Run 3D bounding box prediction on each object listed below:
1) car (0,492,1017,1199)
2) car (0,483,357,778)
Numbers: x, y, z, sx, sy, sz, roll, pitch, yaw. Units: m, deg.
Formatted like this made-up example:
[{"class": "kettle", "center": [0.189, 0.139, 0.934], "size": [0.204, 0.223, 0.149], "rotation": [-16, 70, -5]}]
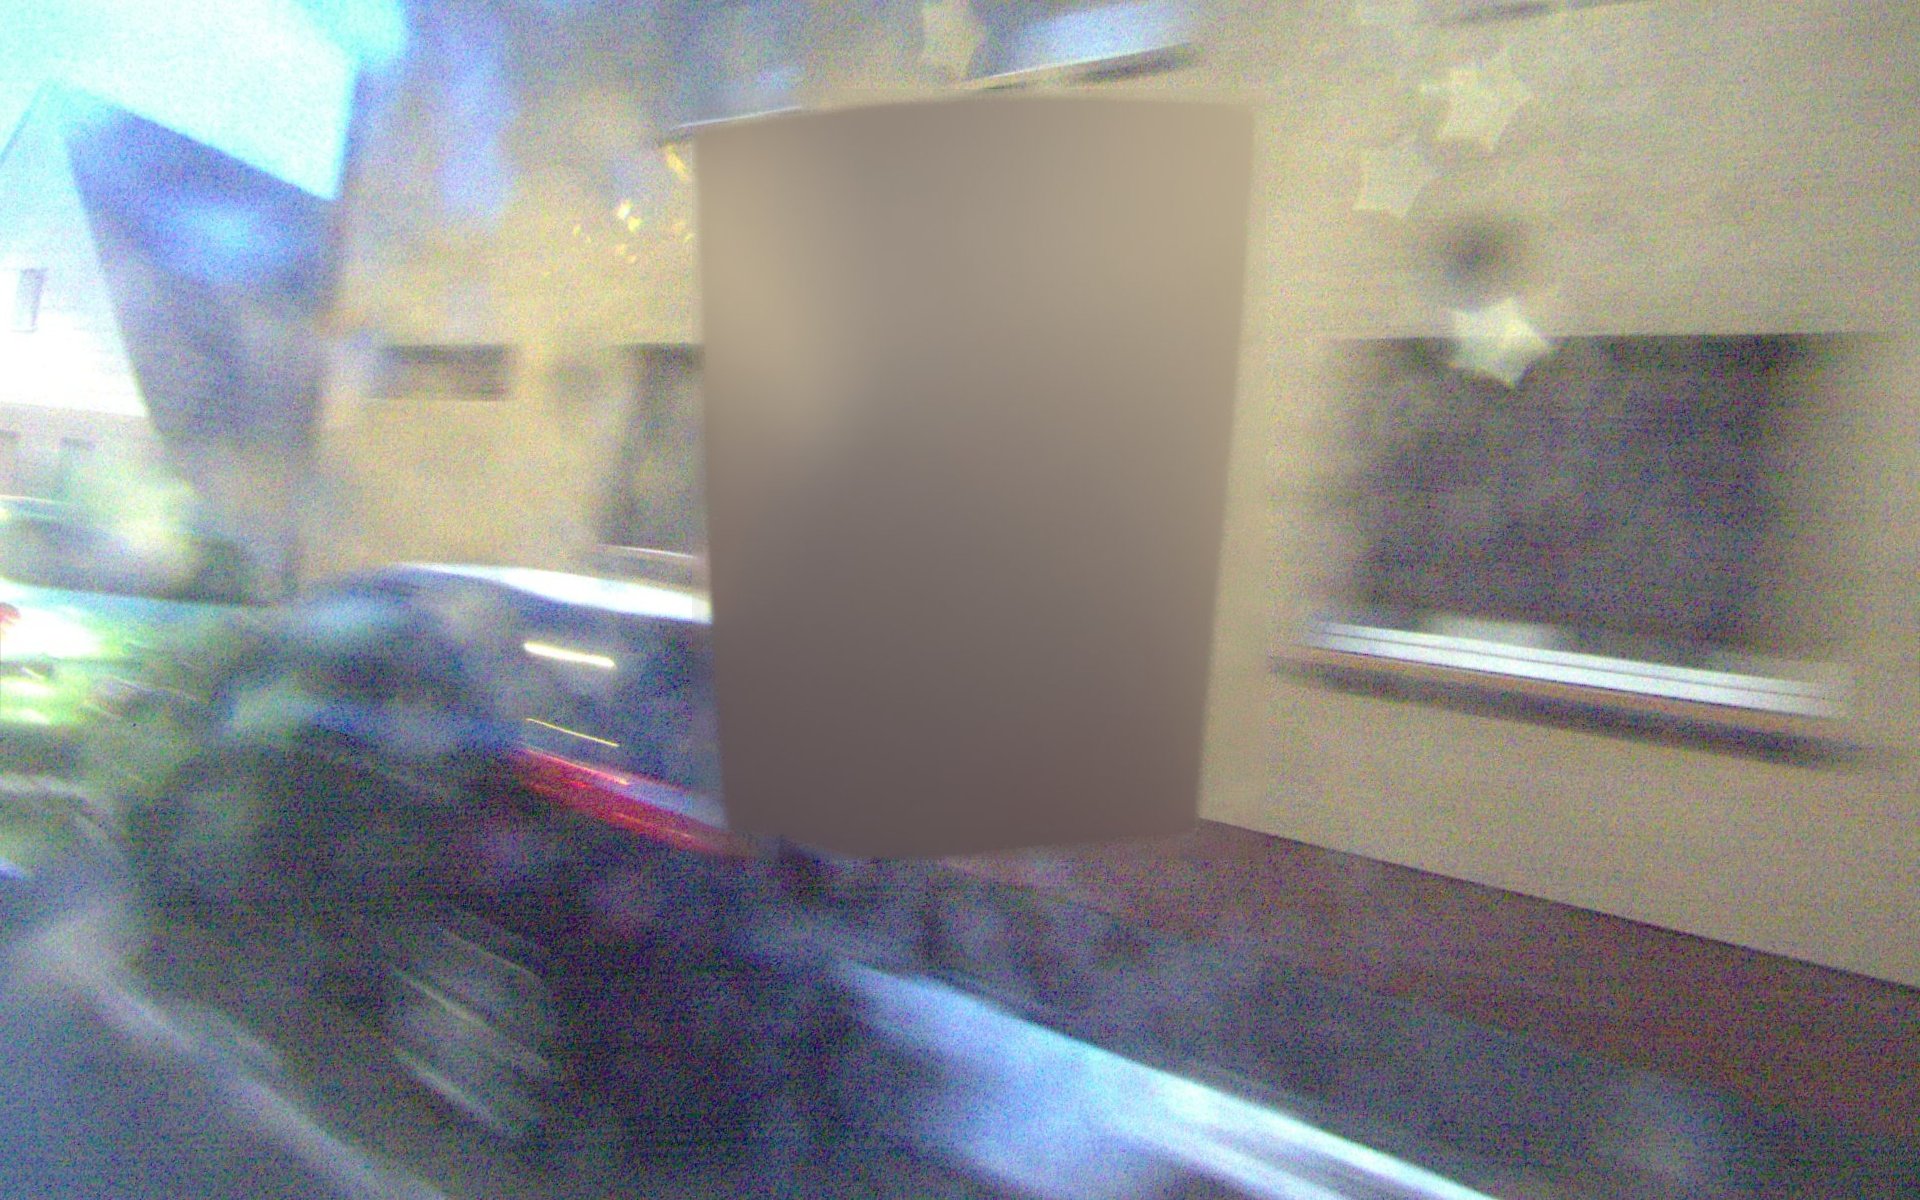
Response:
[{"class": "car", "center": [-1.939, 0.548, 3.922], "size": [3.845, 1.515, 1.720], "rotation": [5, -4, 35]}, {"class": "car", "center": [-6.226, 0.074, 6.891], "size": [4.215, 1.497, 1.913], "rotation": [6, -3, 35]}]
